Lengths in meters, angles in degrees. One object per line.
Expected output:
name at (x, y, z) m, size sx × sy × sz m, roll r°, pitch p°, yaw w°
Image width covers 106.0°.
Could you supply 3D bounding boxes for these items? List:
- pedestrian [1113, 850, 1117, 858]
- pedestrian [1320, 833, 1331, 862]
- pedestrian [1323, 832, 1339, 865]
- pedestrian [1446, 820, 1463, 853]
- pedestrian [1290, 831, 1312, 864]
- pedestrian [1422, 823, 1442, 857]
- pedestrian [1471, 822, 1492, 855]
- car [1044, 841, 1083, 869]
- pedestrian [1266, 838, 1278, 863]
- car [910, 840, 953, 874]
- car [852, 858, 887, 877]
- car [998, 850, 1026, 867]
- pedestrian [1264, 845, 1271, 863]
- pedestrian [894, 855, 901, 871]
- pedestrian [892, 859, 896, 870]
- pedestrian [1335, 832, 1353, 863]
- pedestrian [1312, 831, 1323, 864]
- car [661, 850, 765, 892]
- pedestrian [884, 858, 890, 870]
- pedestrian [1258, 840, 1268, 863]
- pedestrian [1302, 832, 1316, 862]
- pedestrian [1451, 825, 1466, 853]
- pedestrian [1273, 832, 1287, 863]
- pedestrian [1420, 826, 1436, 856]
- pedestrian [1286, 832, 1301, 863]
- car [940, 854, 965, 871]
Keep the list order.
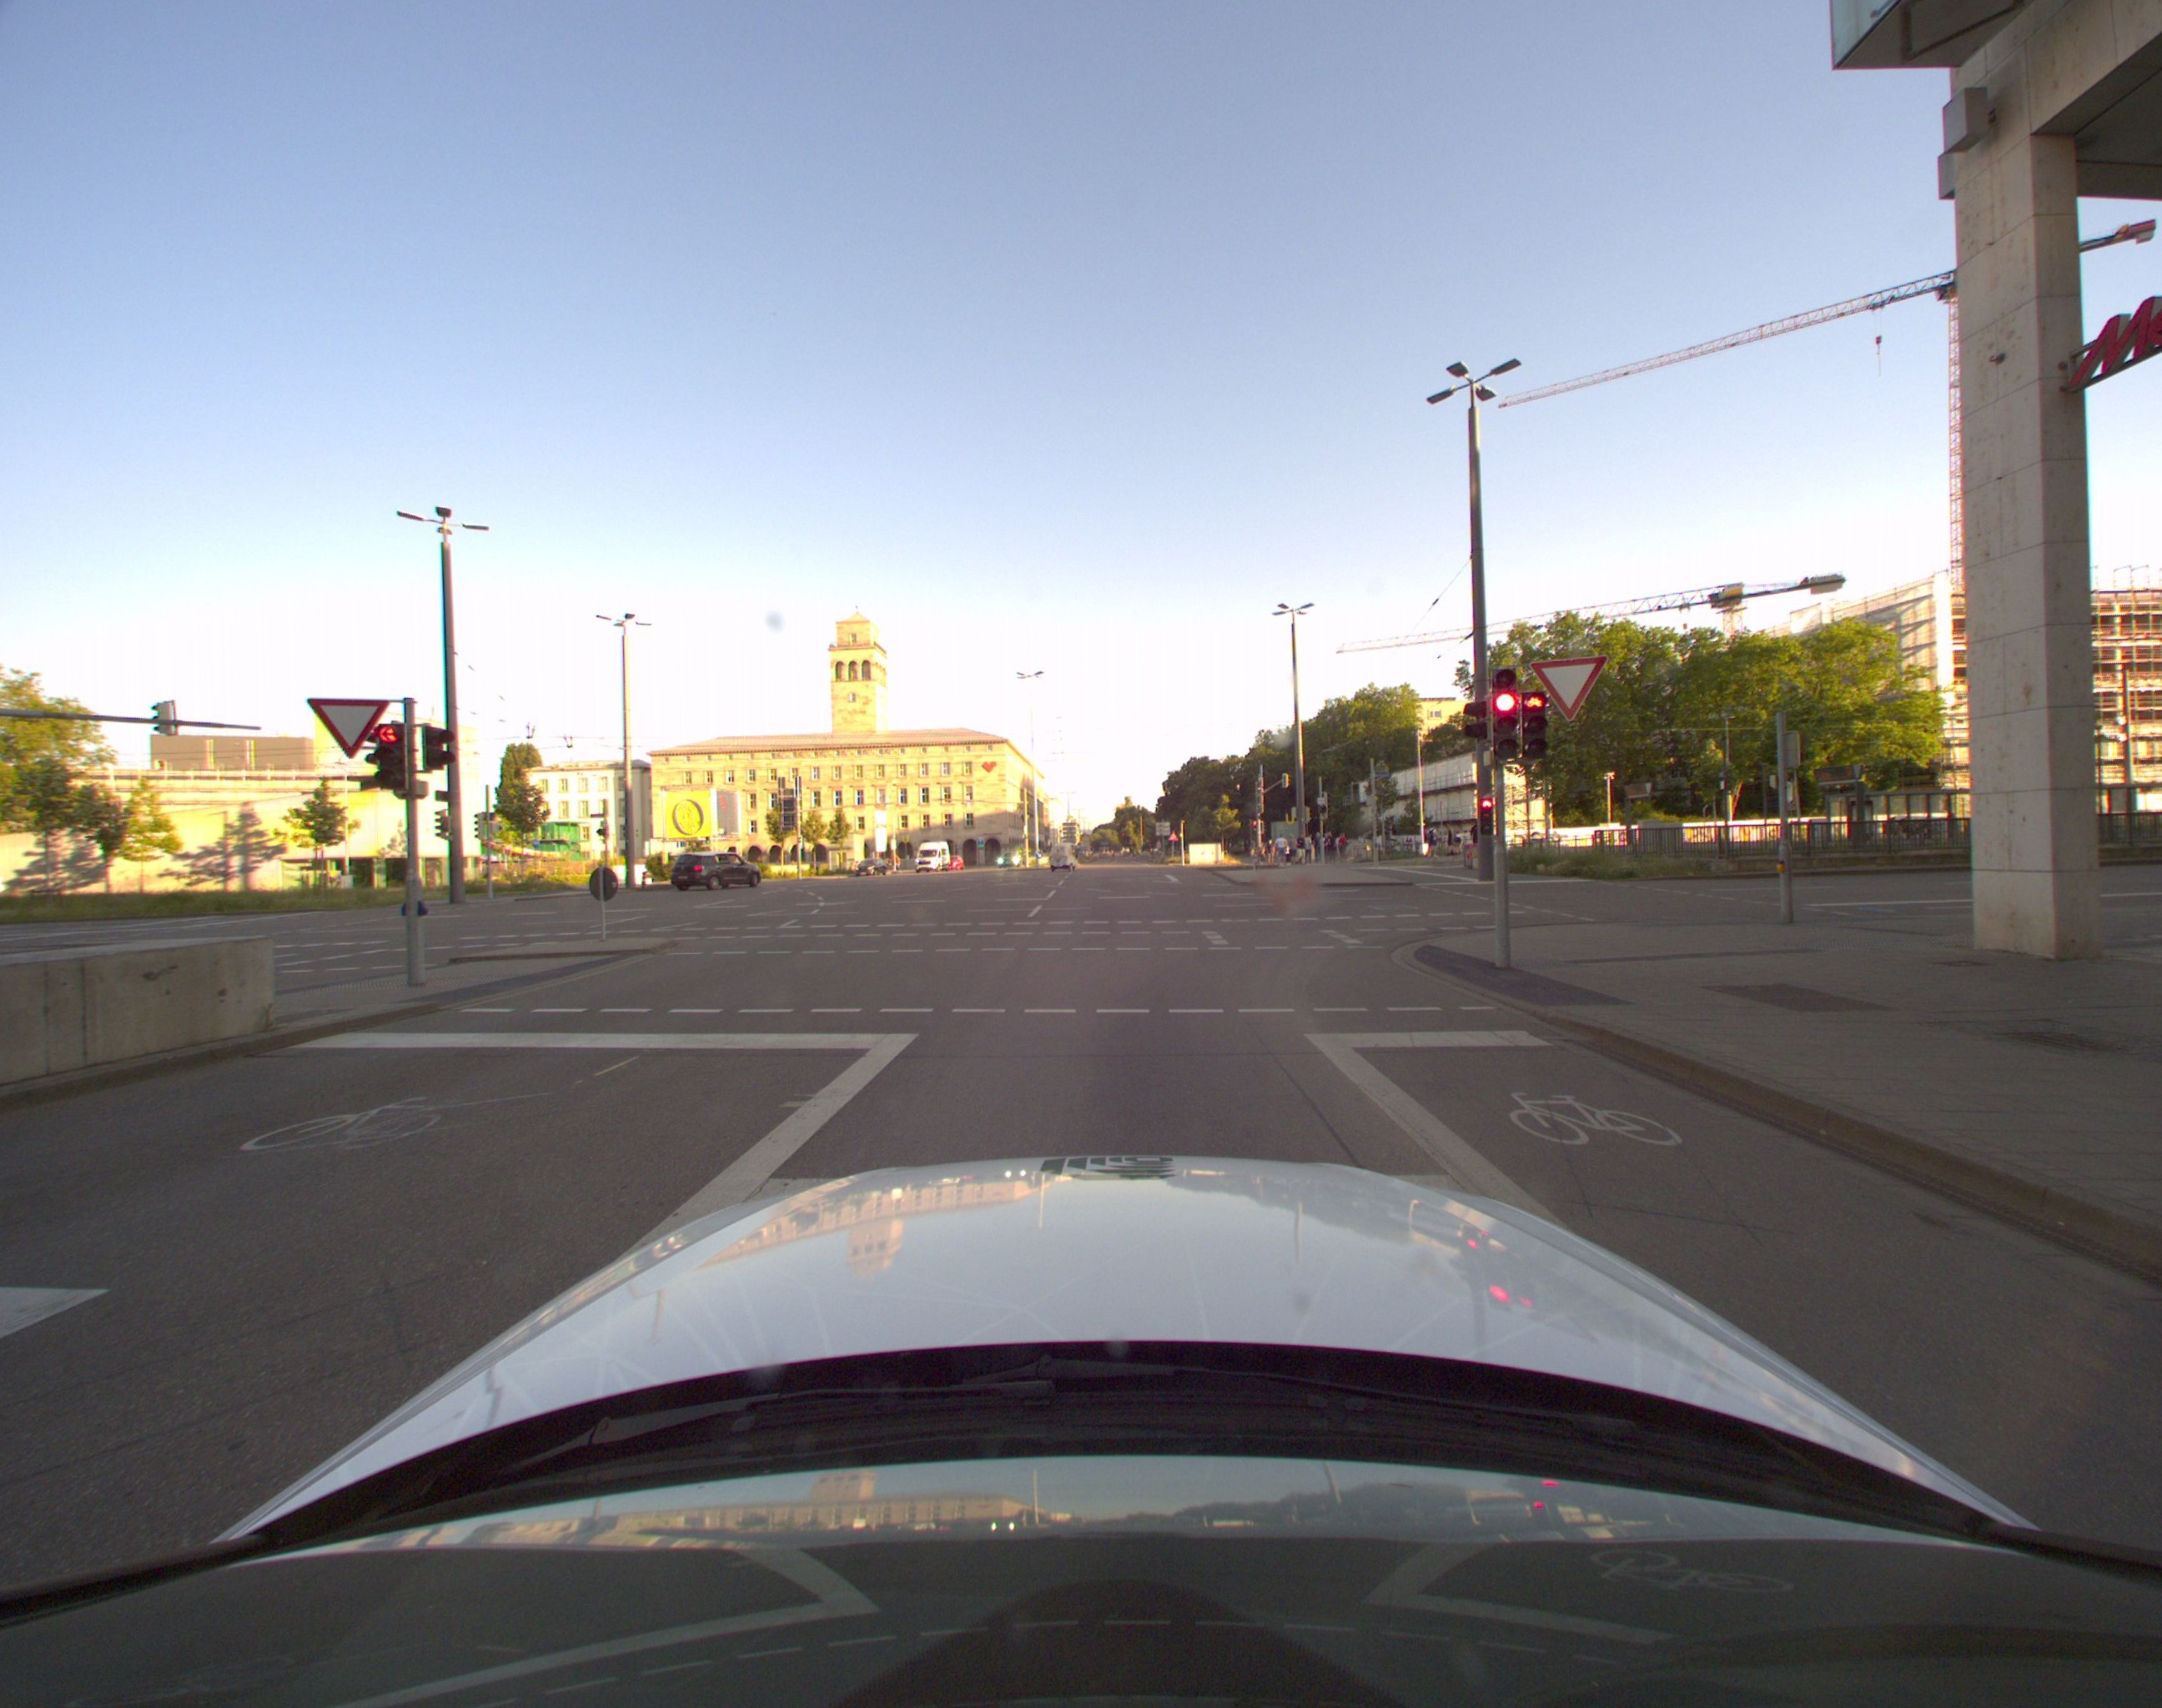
pedestrian at (8.069, 0.010, 194.800) m, size 0.903 × 1.671 × 1.307 m, roll -2°, pitch 1°, yaw 1°
pedestrian at (14.114, -0.374, 46.951) m, size 0.568 × 1.678 × 0.641 m, roll -2°, pitch 1°, yaw 16°
pedestrian at (13.948, -0.329, 45.502) m, size 0.799 × 1.791 × 0.804 m, roll -2°, pitch 1°, yaw 16°
pedestrian at (19.739, -0.929, 43.064) m, size 0.705 × 1.725 × 0.672 m, roll -2°, pitch 0°, yaw 19°
pedestrian at (11.989, -0.359, 44.402) m, size 0.903 × 1.725 × 0.718 m, roll -1°, pitch 1°, yaw 38°
pedestrian at (18.604, -0.741, 43.194) m, size 0.716 × 1.725 × 0.661 m, roll -2°, pitch 0°, yaw -37°
pedestrian at (21.226, -0.823, 43.181) m, size 0.669 × 1.725 × 0.707 m, roll -2°, pitch 0°, yaw -25°
car at (-1.052, 0.041, 50.975) m, size 1.471 × 1.696 × 2.988 m, roll -2°, pitch 0°, yaw 18°
pedestrian at (14.186, -0.257, 60.426) m, size 0.673 × 1.757 × 0.907 m, roll -2°, pitch 1°, yaw 22°
car at (-13.287, 0.224, 72.979) m, size 2.269 × 2.776 × 6.090 m, roll -2°, pitch 0°, yaw 4°
car at (-18.346, 1.146, 70.827) m, size 1.817 × 1.466 × 4.158 m, roll -2°, pitch 1°, yaw 0°
car at (-6.167, 0.385, 72.957) m, size 1.815 × 1.341 × 4.005 m, roll -2°, pitch 1°, yaw 4°
pedestrian at (20.201, -0.018, 88.202) m, size 0.662 × 1.842 × 0.714 m, roll -2°, pitch 1°, yaw 7°
pedestrian at (-20.752, 1.013, 92.144) m, size 0.620 × 1.744 × 0.459 m, roll 0°, pitch -1°, yaw -4°
pedestrian at (-20.906, 1.177, 90.991) m, size 0.420 × 1.300 × 0.459 m, roll 0°, pitch -1°, yaw -3°
pedestrian at (14.793, -0.377, 45.817) m, size 0.838 × 1.734 × 0.708 m, roll -2°, pitch 1°, yaw 14°
pedestrian at (13.206, -0.365, 45.512) m, size 0.568 × 1.791 × 0.641 m, roll -2°, pitch 1°, yaw 16°
car at (-15.881, 0.700, 35.383) m, size 1.725 × 1.604 × 4.154 m, roll -2°, pitch 0°, yaw 18°
pedestrian at (-21.706, 1.088, 91.119) m, size 0.504 × 1.300 × 0.700 m, roll 0°, pitch -1°, yaw -3°
pedestrian at (13.503, -0.192, 60.503) m, size 0.555 × 1.654 × 0.907 m, roll -2°, pitch 1°, yaw 22°
pedestrian at (12.994, -0.404, 46.399) m, size 0.705 × 1.725 × 0.919 m, roll -2°, pitch 1°, yaw 15°
pedestrian at (20.245, -0.795, 43.679) m, size 0.670 × 1.441 × 0.718 m, roll -2°, pitch 0°, yaw 24°
pedestrian at (11.175, -0.366, 45.730) m, size 0.705 × 1.725 × 0.671 m, roll -2°, pitch 1°, yaw 16°
pedestrian at (18.977, -0.708, 44.524) m, size 0.569 × 1.592 × 0.537 m, roll -2°, pitch 0°, yaw 1°
pedestrian at (11.881, -0.373, 45.534) m, size 0.705 × 1.725 × 0.671 m, roll -2°, pitch 1°, yaw 15°
car at (-12.875, 0.831, 81.669) m, size 1.732 × 1.487 × 4.002 m, roll -2°, pitch 1°, yaw 2°
